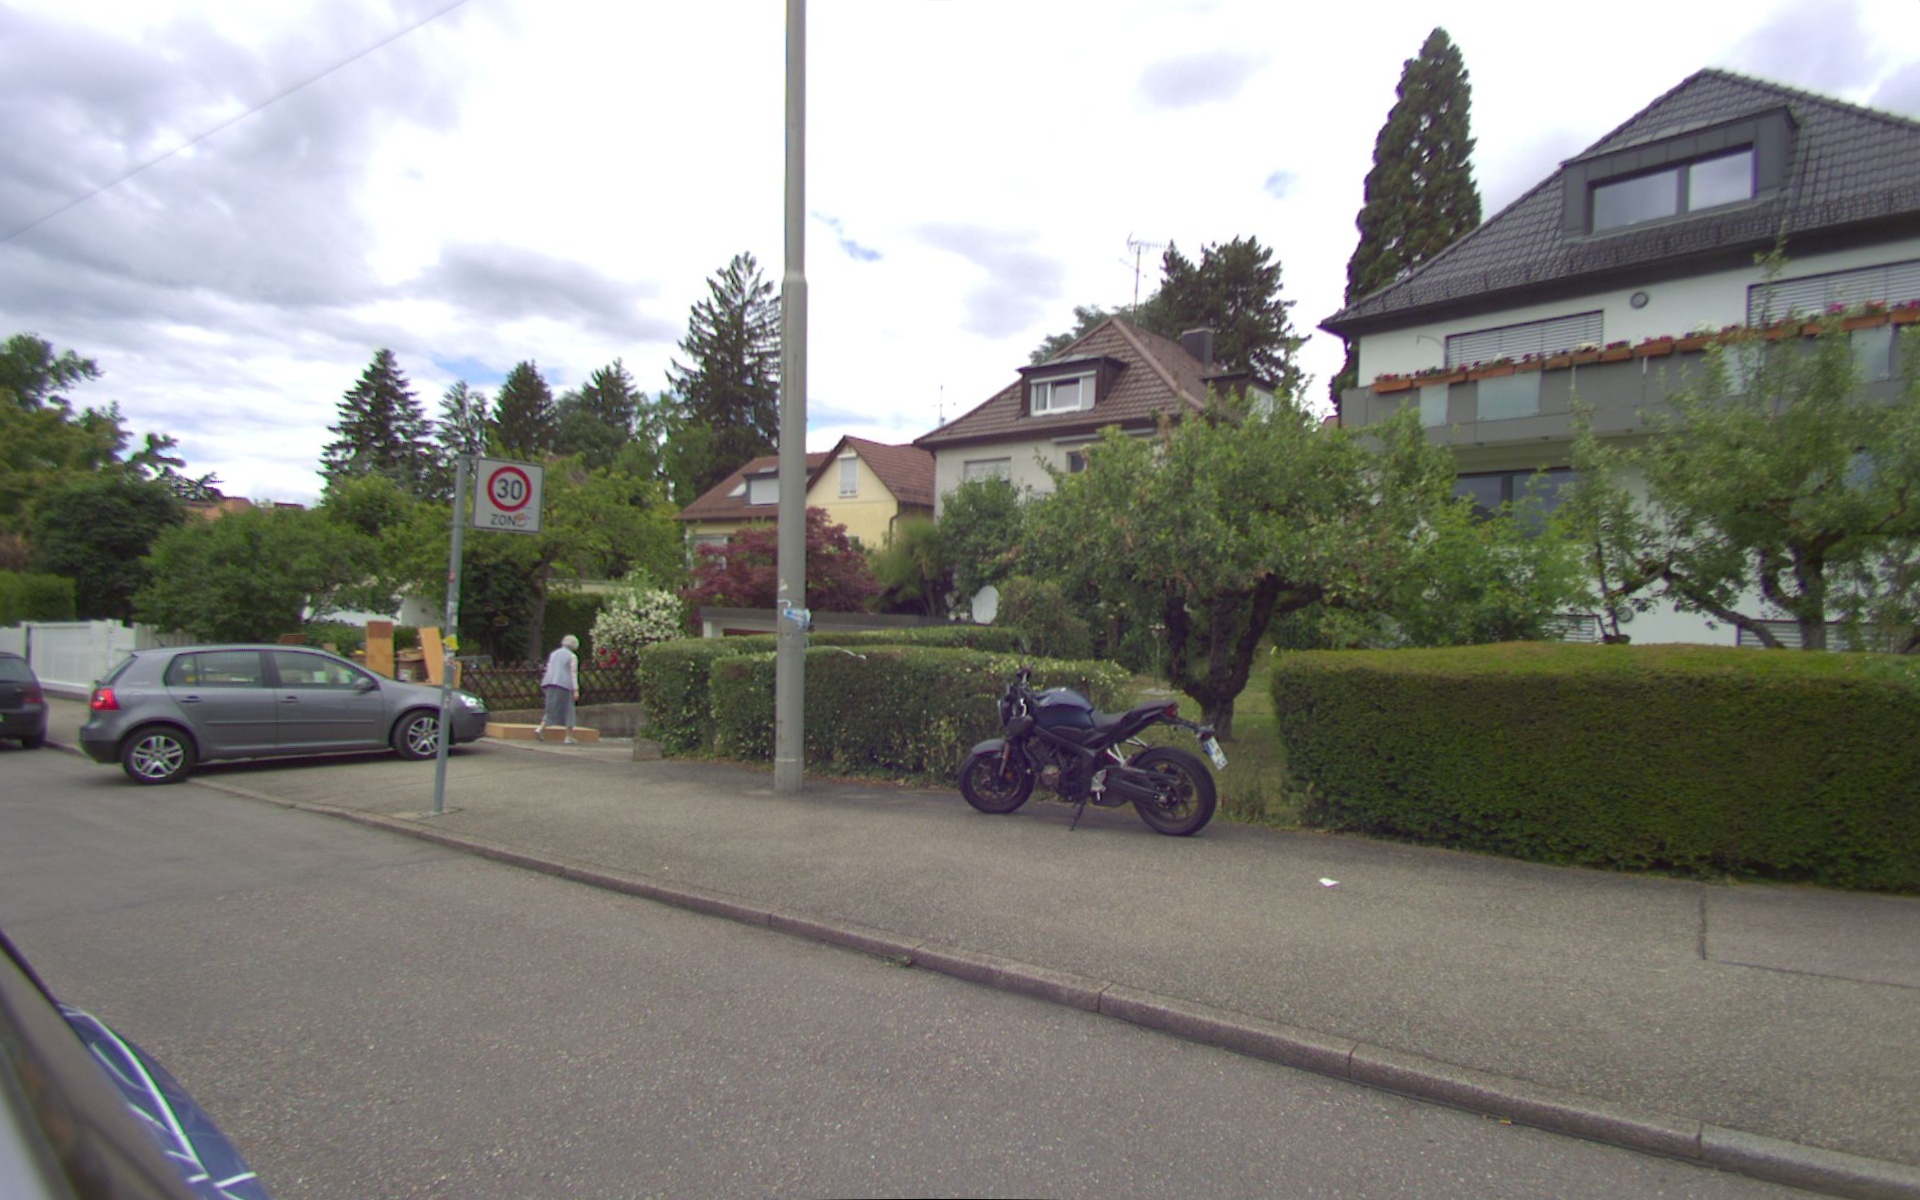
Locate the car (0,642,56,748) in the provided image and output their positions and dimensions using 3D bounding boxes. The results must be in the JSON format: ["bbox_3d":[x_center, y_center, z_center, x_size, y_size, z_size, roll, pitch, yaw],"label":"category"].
[{"bbox_3d":[-14.875,1.328,14.755,3.795,1.455,1.738,-2,-4,36],"label":"car"}]

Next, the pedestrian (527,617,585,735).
[{"bbox_3d":[-6.324,1.175,15.861,0.638,1.818,0.612,-1,-1,5],"label":"pedestrian"}]

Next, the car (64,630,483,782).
[{"bbox_3d":[-8.058,1.146,12.223,3.933,1.473,1.742,0,-1,-34],"label":"car"}]

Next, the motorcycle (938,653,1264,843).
[{"bbox_3d":[0.952,0.955,7.113,2.138,1.148,0.767,-2,-2,31],"label":"motorcycle"}]
